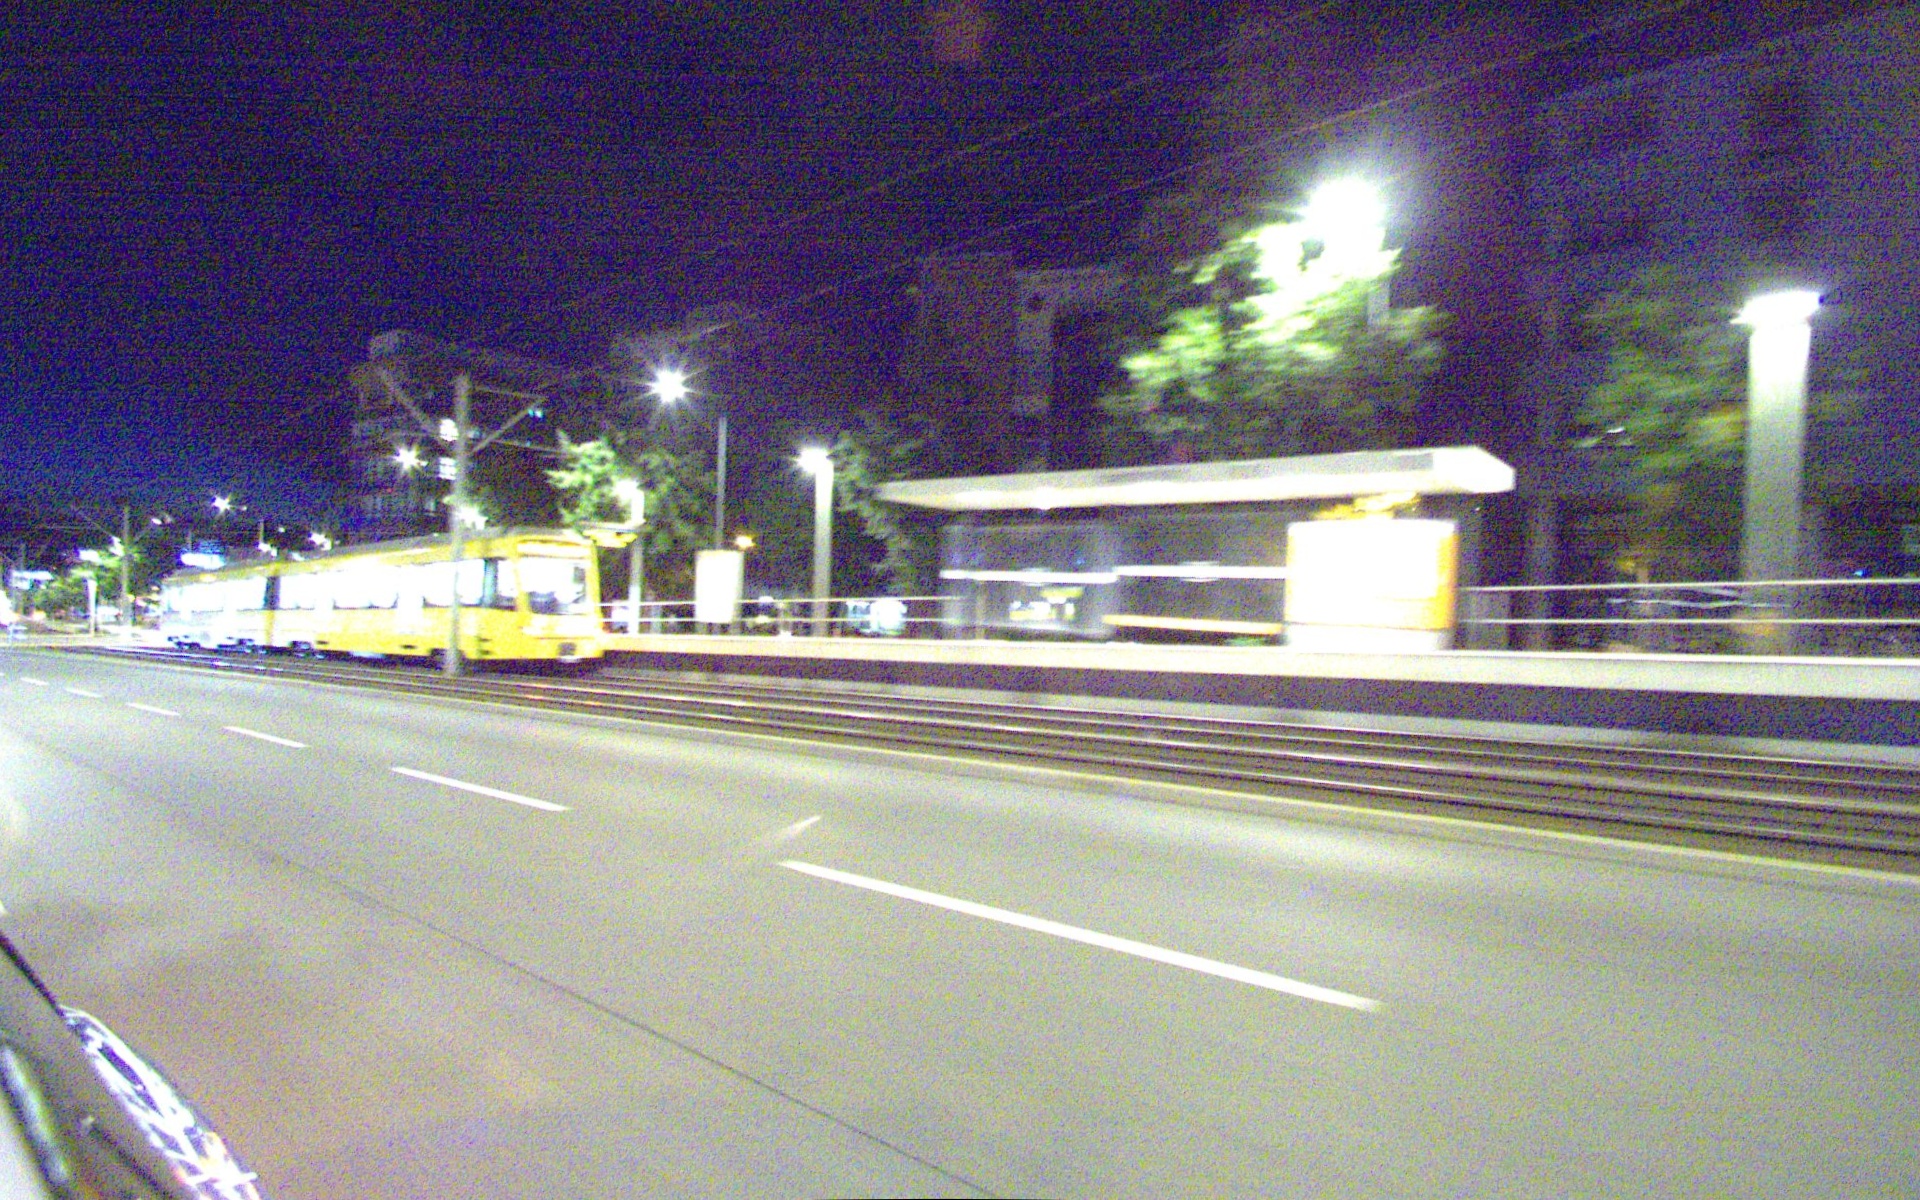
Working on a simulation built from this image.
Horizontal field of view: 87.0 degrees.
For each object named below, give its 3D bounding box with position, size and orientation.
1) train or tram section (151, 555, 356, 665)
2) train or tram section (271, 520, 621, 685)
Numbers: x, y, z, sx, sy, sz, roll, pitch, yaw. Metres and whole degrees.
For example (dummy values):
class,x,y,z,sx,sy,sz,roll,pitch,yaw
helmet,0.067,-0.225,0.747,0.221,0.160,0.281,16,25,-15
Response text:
class,x,y,z,sx,sy,sz,roll,pitch,yaw
train or tram section,-30.822,0.509,43.380,19.354,3.875,2.709,-1,-1,41
train or tram section,-16.528,0.219,30.816,18.660,3.856,2.730,-1,-1,41
